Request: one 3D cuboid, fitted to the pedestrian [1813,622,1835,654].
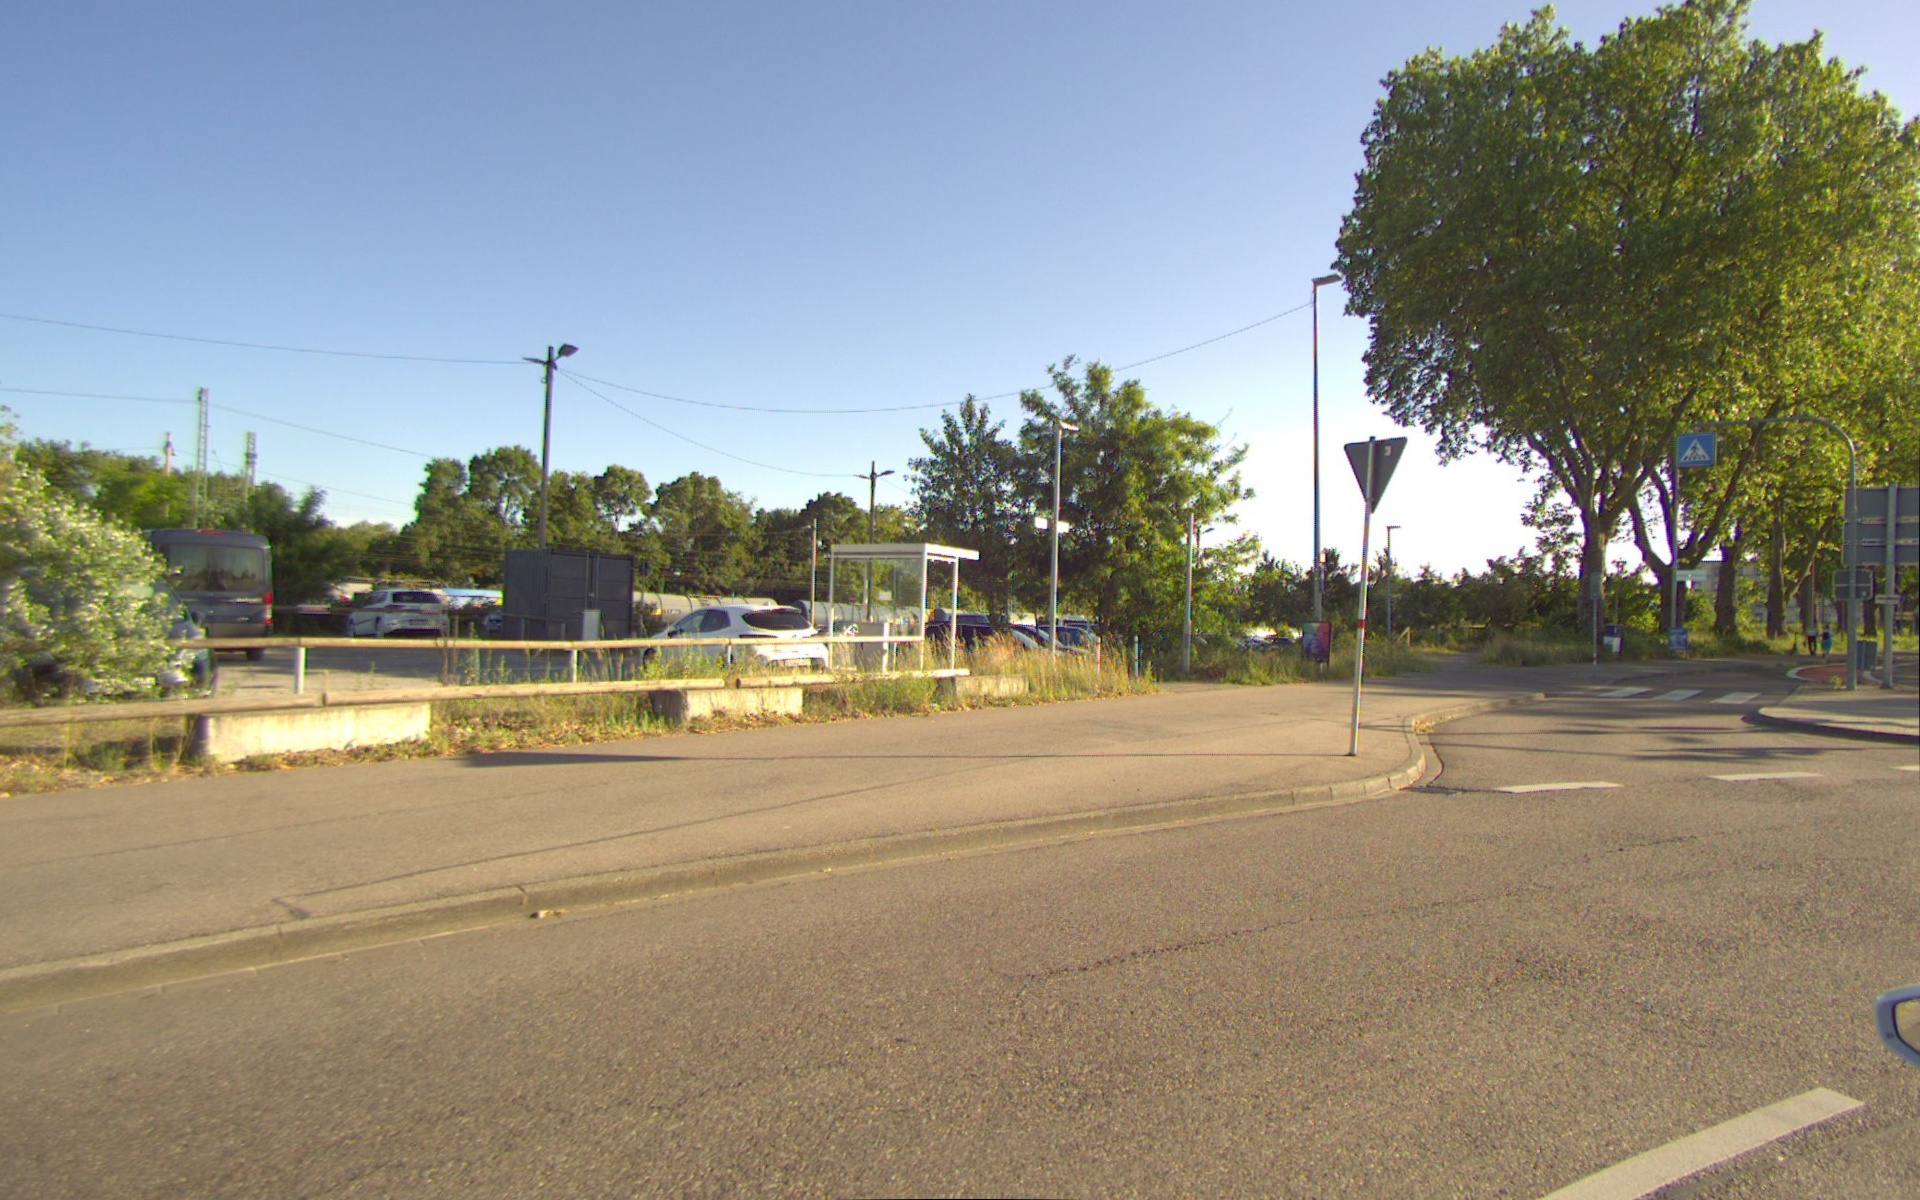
[{"bbox_3d":[44.731,1.988,52.003,0.798,1.613,0.722,2,0,-40],"label":"pedestrian"}]

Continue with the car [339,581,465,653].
[{"bbox_3d":[-15.826,0.452,28.405,4.145,1.833,1.975,2,0,44],"label":"car"}]

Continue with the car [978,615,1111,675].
[{"bbox_3d":[2.735,1.401,32.211,3.777,1.687,2.013,2,0,23],"label":"car"}]

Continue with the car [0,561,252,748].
[{"bbox_3d":[-9.519,0.450,11.051,4.083,1.676,1.864,2,0,41],"label":"car"}]

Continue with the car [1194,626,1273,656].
[{"bbox_3d":[18.668,2.750,68.636,1.986,1.788,4.899,2,0,-42],"label":"car"}]

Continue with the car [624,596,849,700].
[{"bbox_3d":[-4.030,0.766,17.719,4.215,1.531,1.880,2,0,45],"label":"car"}]

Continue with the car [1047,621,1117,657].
[{"bbox_3d":[6.932,2.202,57.390,1.722,1.863,3.998,2,0,-36],"label":"car"}]

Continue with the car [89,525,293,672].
[{"bbox_3d":[-15.533,-0.042,20.167,5.435,2.550,2.388,1,0,43],"label":"car"}]

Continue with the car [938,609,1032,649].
[{"bbox_3d":[1.248,1.470,52.228,2.181,1.863,4.970,2,0,-38],"label":"car"}]

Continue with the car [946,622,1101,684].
[{"bbox_3d":[1.816,1.468,28.603,3.923,1.500,1.963,2,0,23],"label":"car"}]

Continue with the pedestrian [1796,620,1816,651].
[{"bbox_3d":[44.260,1.844,52.538,0.626,1.607,0.658,2,0,-40],"label":"pedestrian"}]

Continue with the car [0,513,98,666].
[{"bbox_3d":[-17.204,-0.209,18.060,4.419,2.500,2.117,1,0,43],"label":"car"}]

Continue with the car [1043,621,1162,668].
[{"bbox_3d":[5.181,1.592,36.656,3.927,1.479,1.727,2,0,28],"label":"car"}]

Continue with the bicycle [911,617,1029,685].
[{"bbox_3d":[0.243,1.307,25.936,2.903,1.638,0.904,2,0,-10],"label":"bicycle"}]
